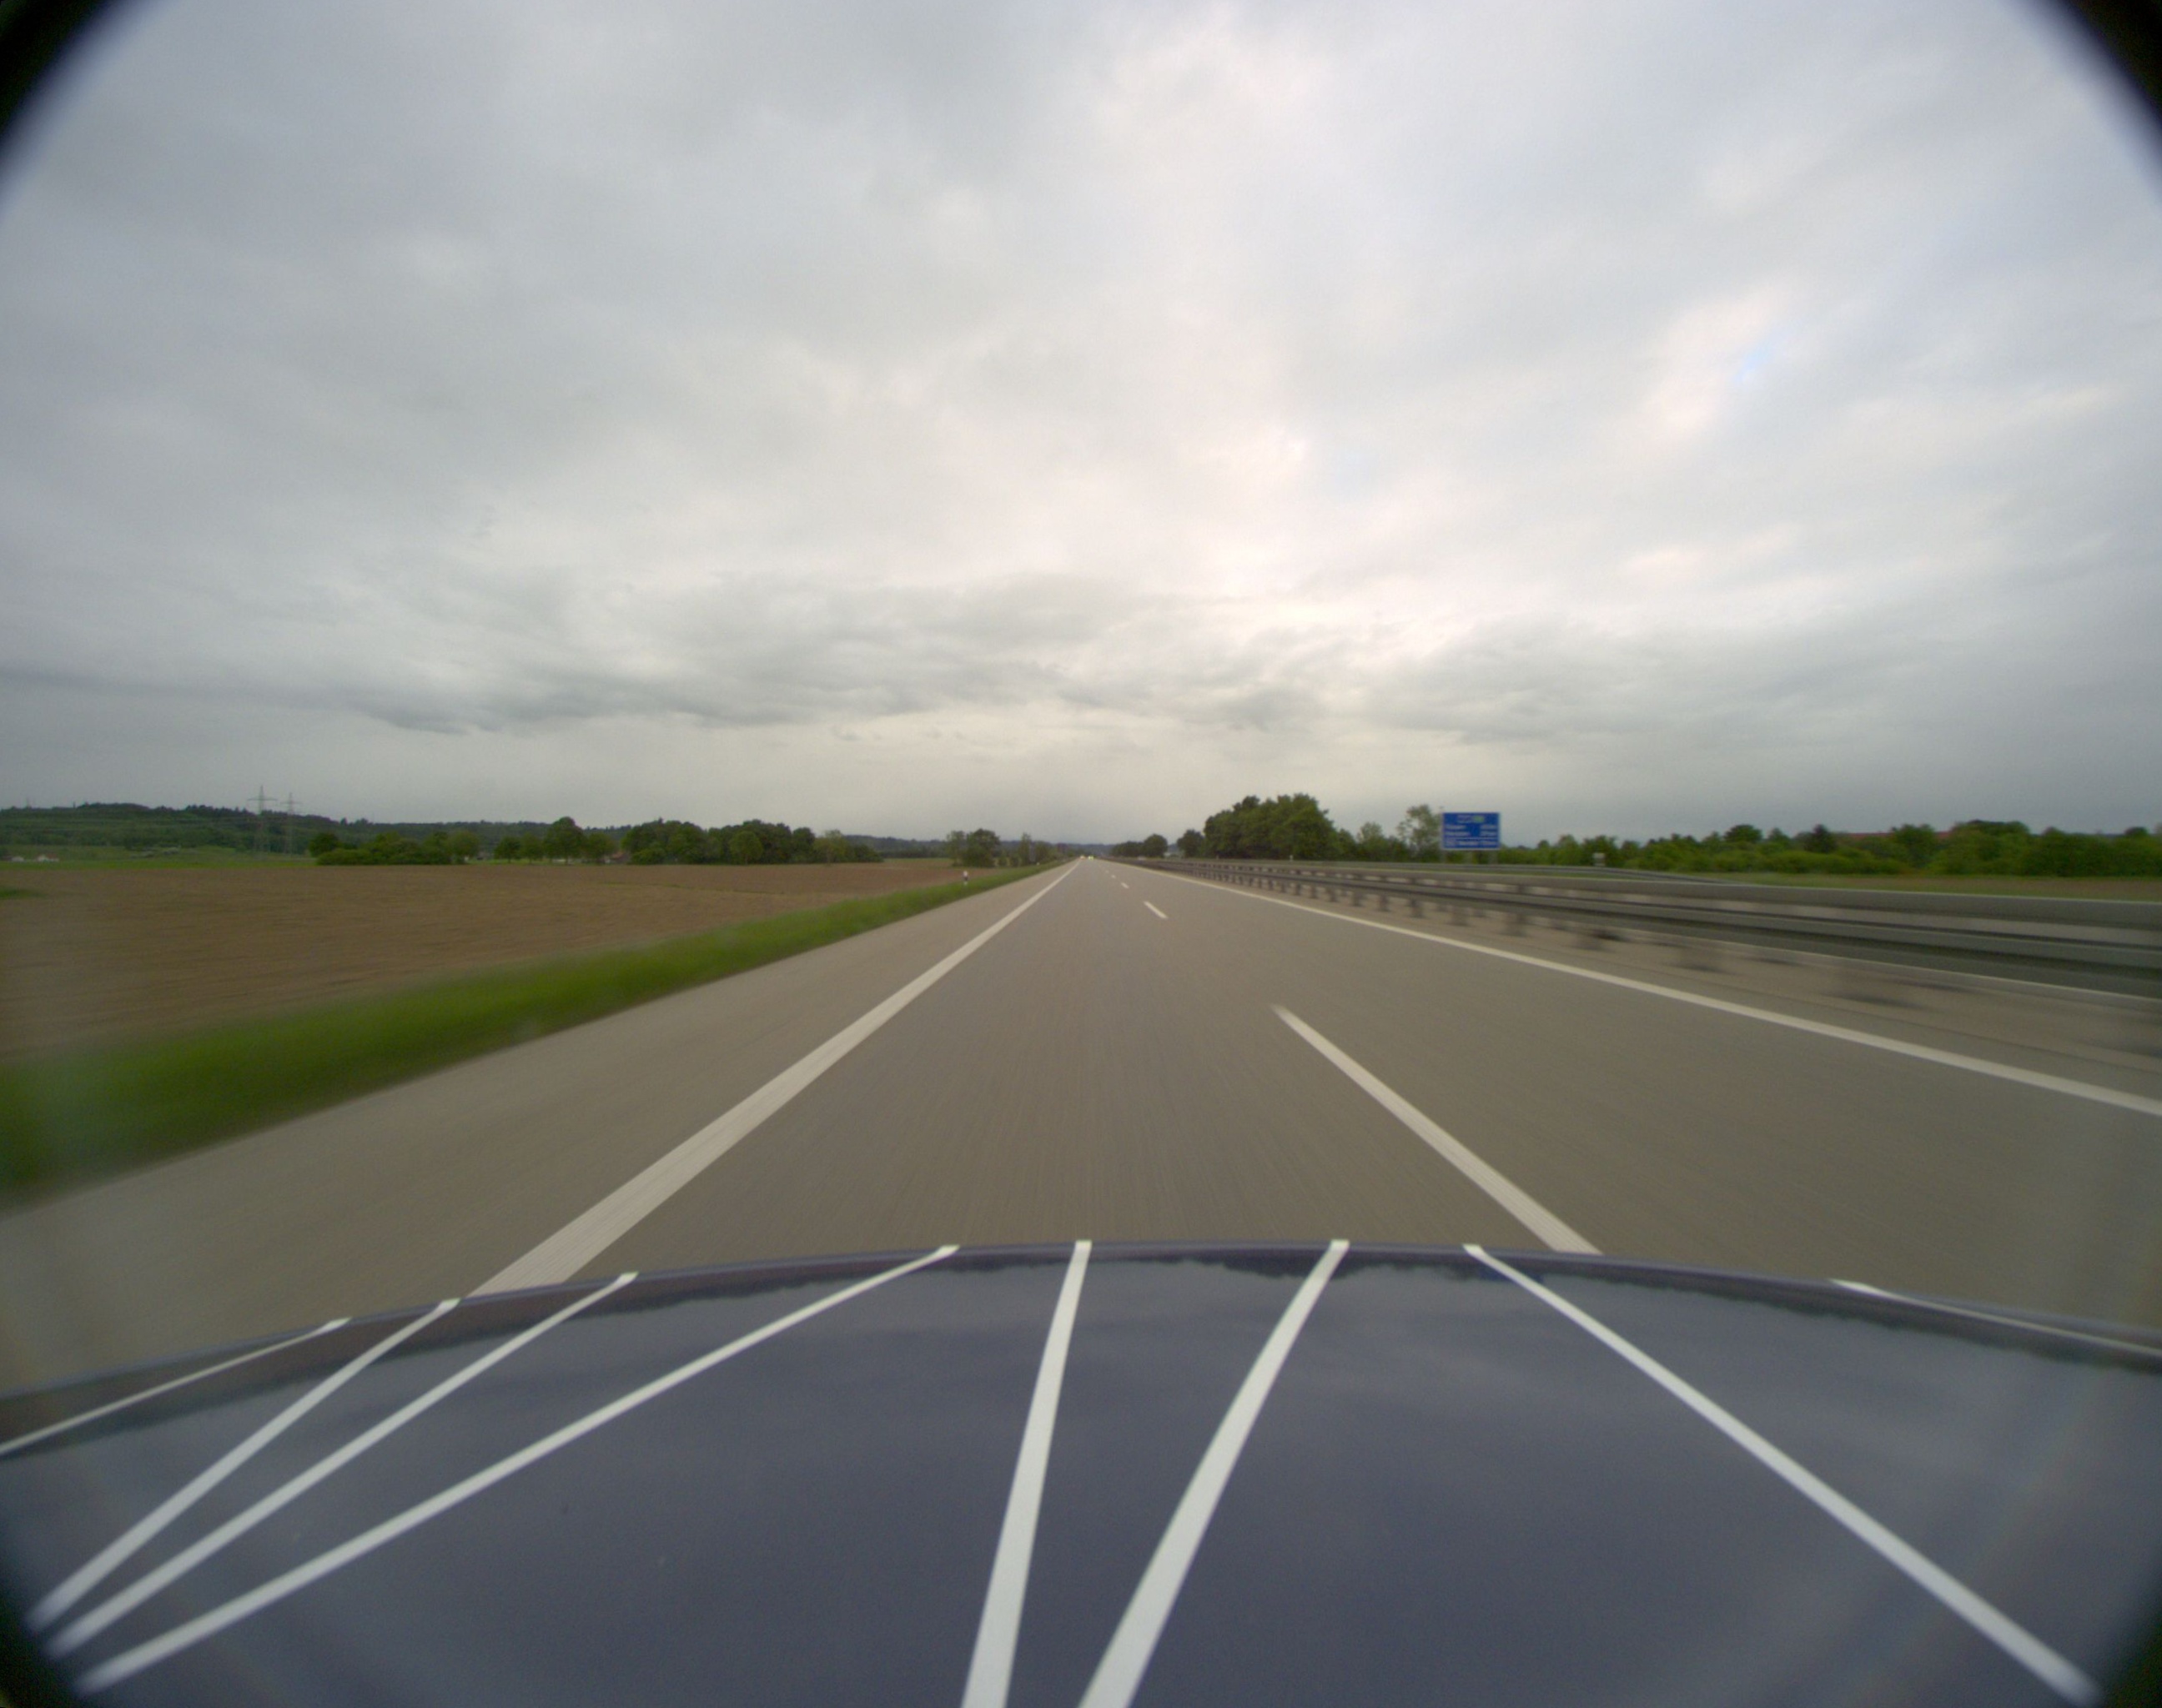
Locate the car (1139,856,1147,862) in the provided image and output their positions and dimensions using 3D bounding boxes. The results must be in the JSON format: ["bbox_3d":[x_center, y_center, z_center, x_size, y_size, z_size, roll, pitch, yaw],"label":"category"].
[{"bbox_3d":[15.624,1.228,192.042,1.745,1.565,4.856,-2,0,1],"label":"car"}]
